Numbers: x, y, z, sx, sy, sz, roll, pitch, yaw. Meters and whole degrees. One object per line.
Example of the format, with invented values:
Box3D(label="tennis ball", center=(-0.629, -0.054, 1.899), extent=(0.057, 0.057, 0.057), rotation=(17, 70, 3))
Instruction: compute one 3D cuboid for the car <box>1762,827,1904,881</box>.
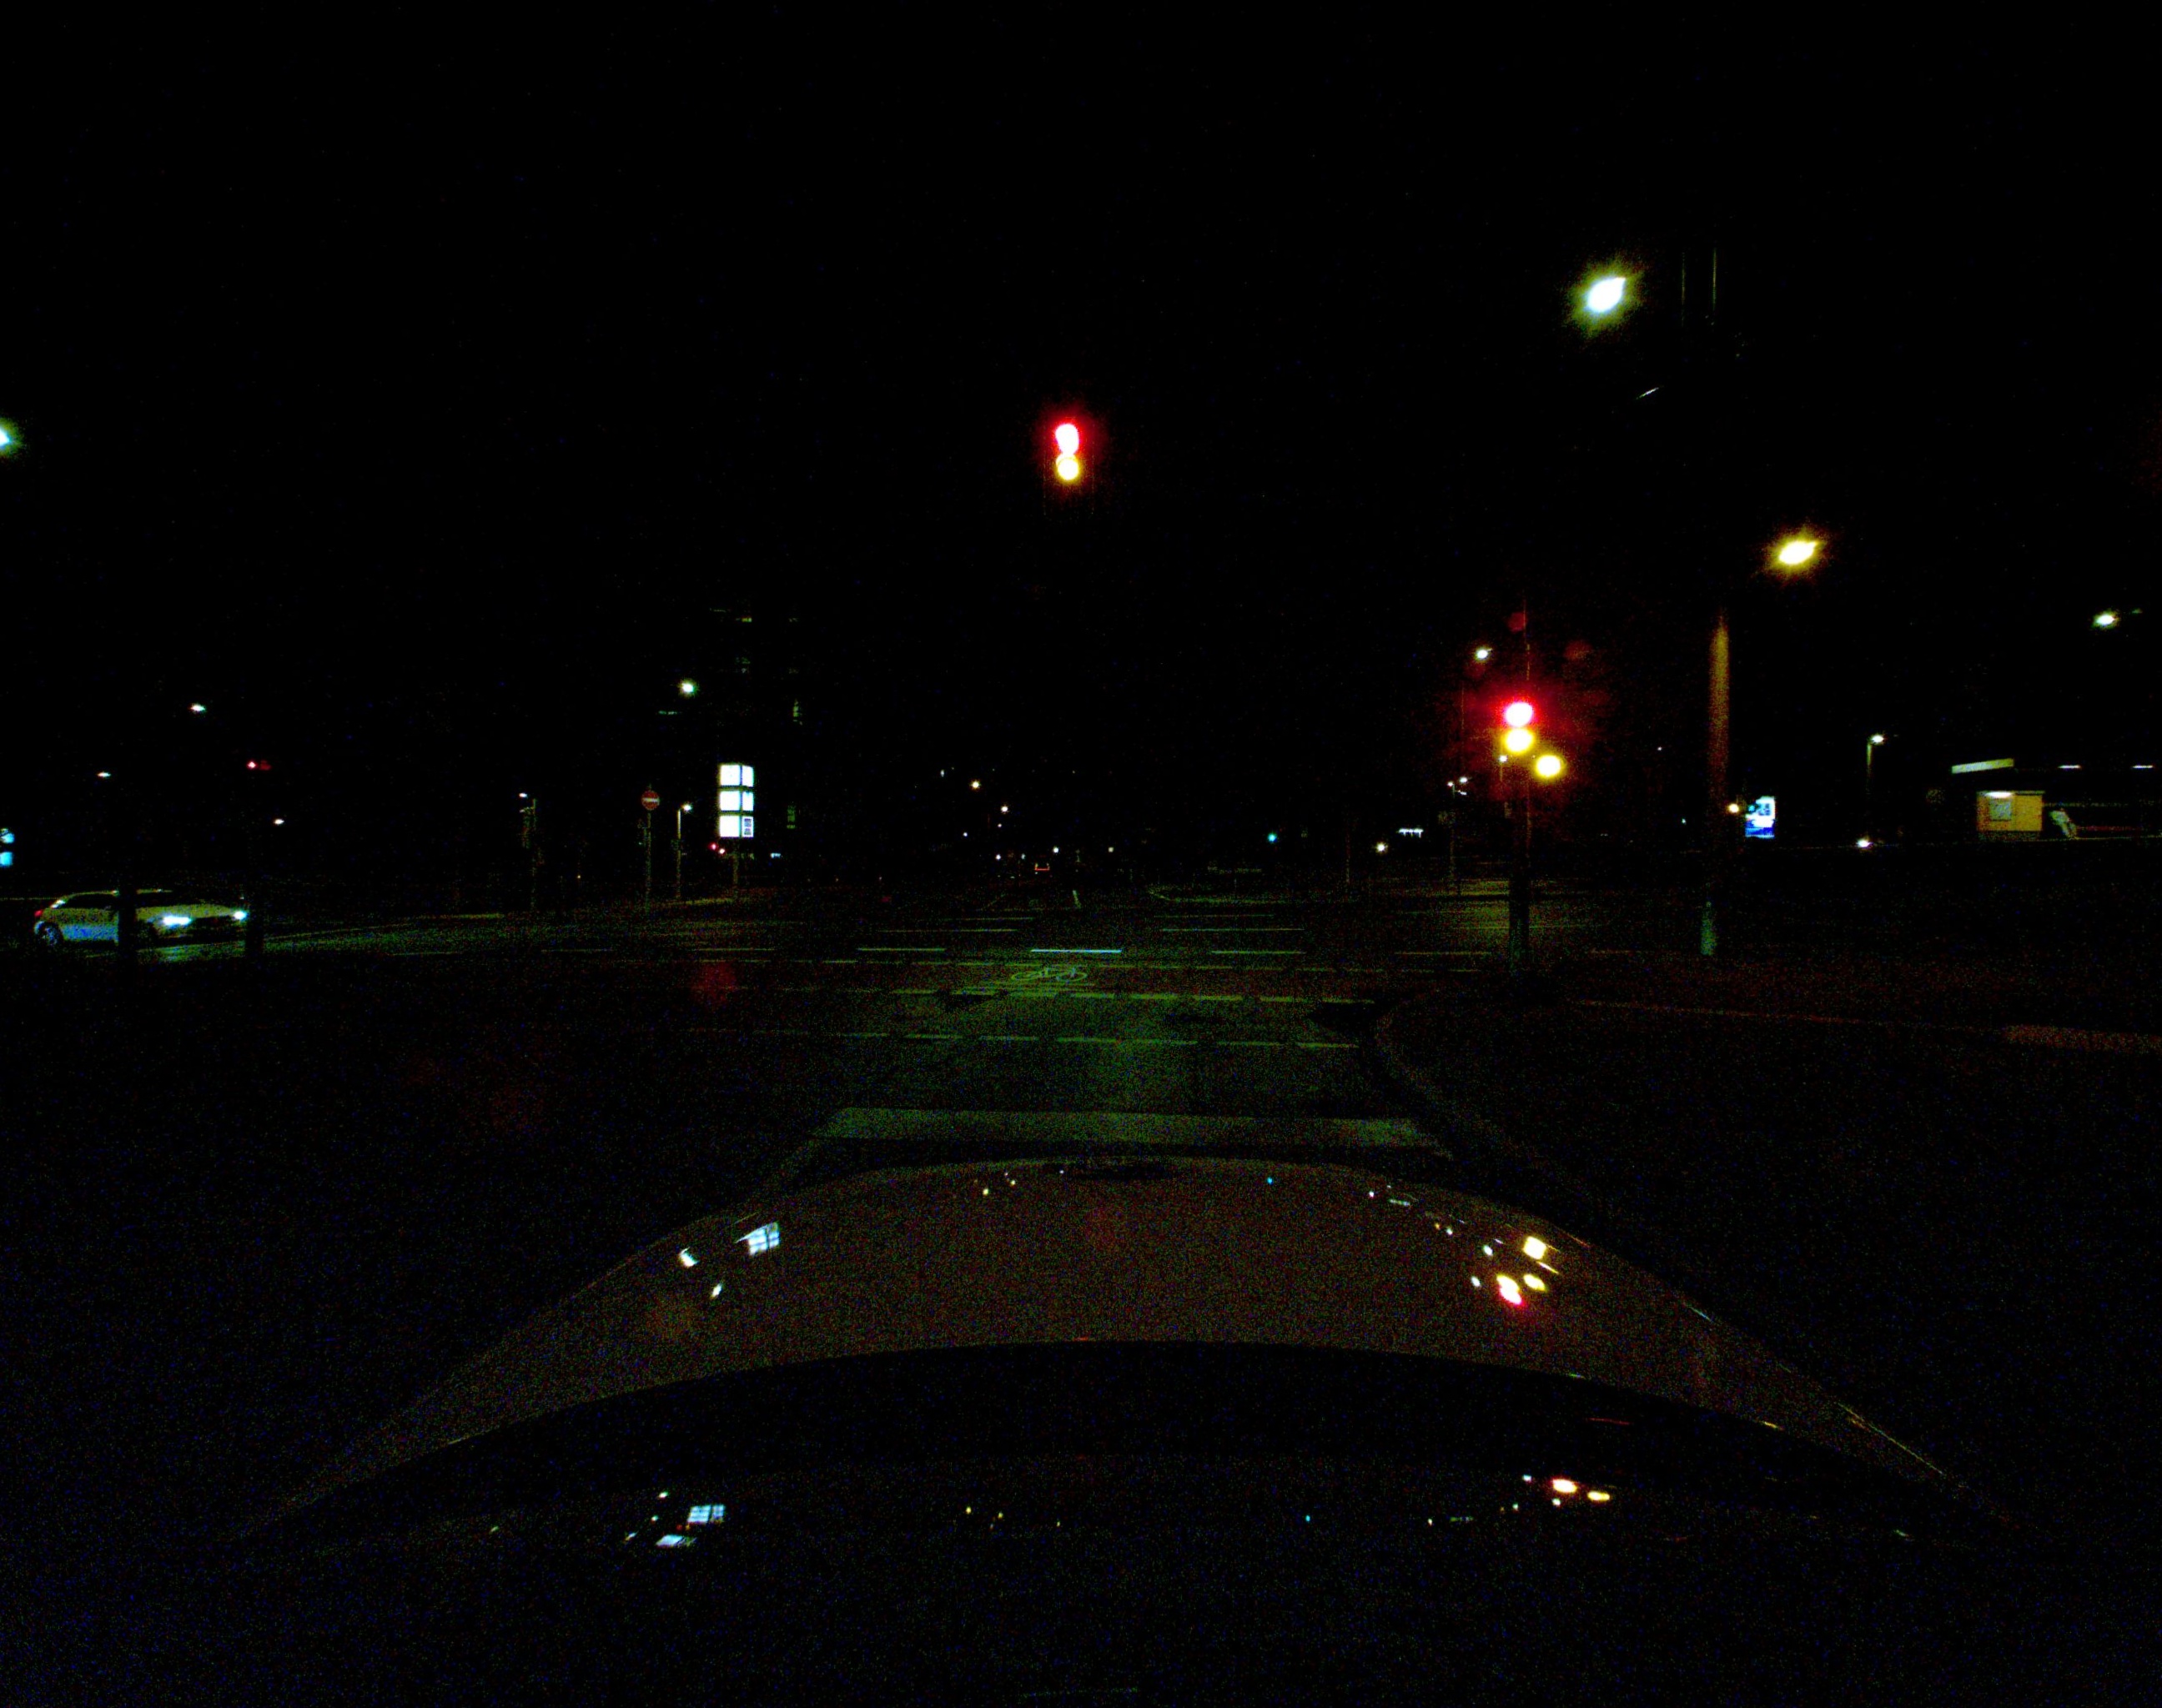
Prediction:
Box3D(label="car", center=(32.072, 0.019, 34.857), extent=(3.966, 2.014, 2.003), rotation=(-4, -1, 6))

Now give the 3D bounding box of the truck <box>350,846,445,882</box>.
Box3D(label="truck", center=(-59.793, 0.881, 71.348), extent=(5.873, 3.088, 2.915), rotation=(0, -1, 3))

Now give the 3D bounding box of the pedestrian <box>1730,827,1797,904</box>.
Box3D(label="pedestrian", center=(16.025, 0.273, 19.151), extent=(0.752, 1.745, 0.834), rotation=(-4, -2, 1))

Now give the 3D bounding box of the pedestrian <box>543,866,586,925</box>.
Box3D(label="pedestrian", center=(-14.549, 1.156, 22.954), extent=(0.667, 1.634, 0.862), rotation=(0, -1, -3))

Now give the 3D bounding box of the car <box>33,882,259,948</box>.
Box3D(label="car", center=(-24.315, 1.565, 21.258), extent=(4.163, 1.502, 1.823), rotation=(-2, 0, 7))

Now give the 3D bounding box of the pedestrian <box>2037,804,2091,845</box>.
Box3D(label="pedestrian", center=(38.183, -1.122, 31.645), extent=(1.131, 1.500, 1.084), rotation=(-3, -2, 41))

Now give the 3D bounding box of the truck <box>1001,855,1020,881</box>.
Box3D(label="truck", center=(-10.394, 1.976, 119.697), extent=(2.580, 3.707, 5.723), rotation=(0, -1, -7))

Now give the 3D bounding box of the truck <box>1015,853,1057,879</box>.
Box3D(label="truck", center=(-8.494, 2.243, 151.544), extent=(4.835, 4.547, 12.591), rotation=(0, -1, -17))
